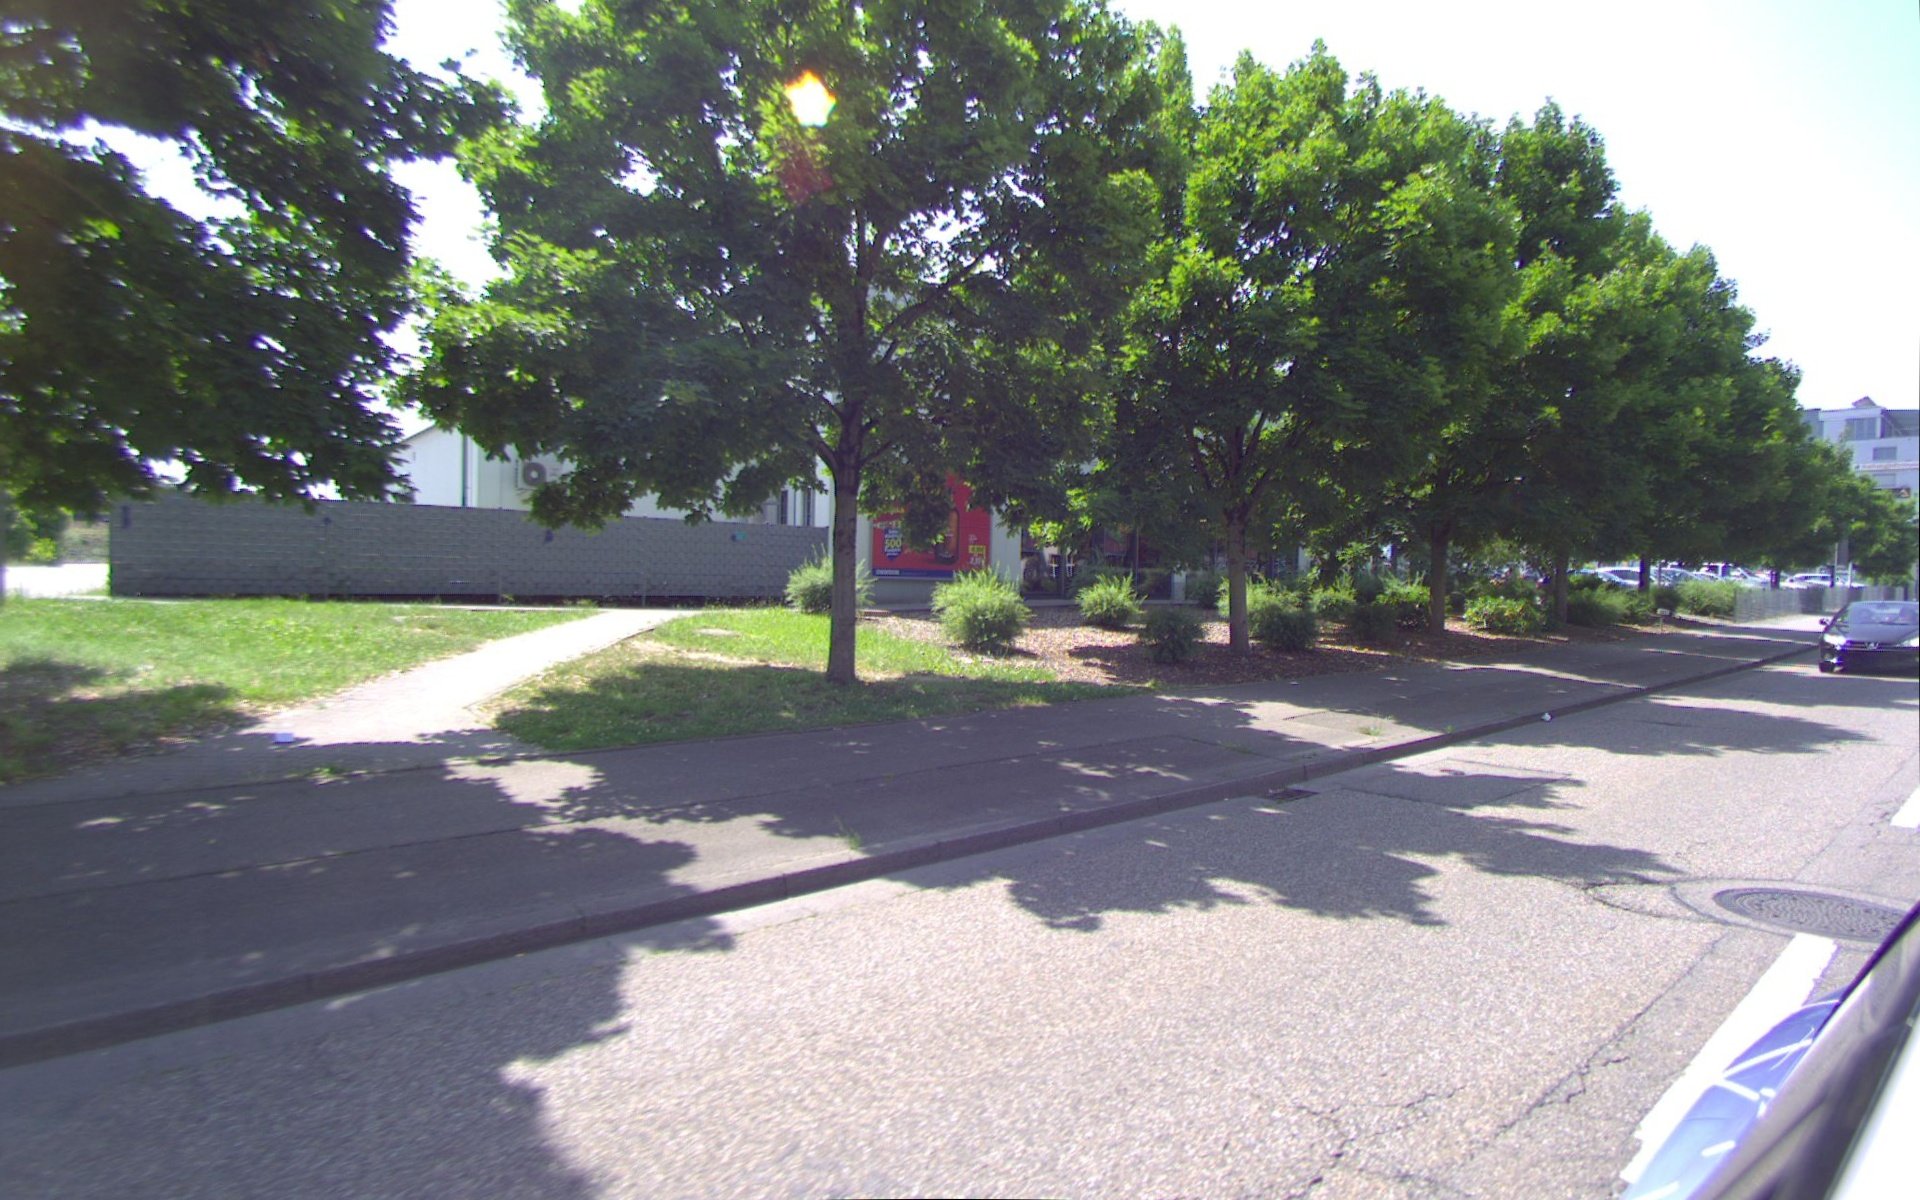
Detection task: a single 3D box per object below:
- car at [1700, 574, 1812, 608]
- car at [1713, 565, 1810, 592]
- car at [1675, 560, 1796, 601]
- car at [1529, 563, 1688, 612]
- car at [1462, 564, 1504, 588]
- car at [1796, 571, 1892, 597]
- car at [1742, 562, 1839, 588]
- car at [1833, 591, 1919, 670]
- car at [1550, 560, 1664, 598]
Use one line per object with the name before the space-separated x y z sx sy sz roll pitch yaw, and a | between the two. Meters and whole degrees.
car | 42.401 -0.514 53.995 1.794 1.612 4.378 0 3 -39
car | 45.312 -1.230 57.256 1.668 1.439 4.006 0 3 -40
car | 40.145 -1.031 52.488 1.794 1.948 4.628 0 3 -39
car | 26.141 -0.554 40.934 1.988 1.615 5.000 -1 5 -42
car | 32.974 -1.491 63.778 3.196 1.437 1.267 0 4 -42
car | 59.007 -1.074 67.621 1.668 1.523 4.586 0 3 -40
car | 49.832 -1.512 60.793 1.666 1.439 4.183 0 3 -37
car | 18.100 0.533 19.466 3.442 1.373 1.639 -1 2 -44
car | 28.921 -0.934 45.296 1.796 1.616 3.991 -1 1 -43
